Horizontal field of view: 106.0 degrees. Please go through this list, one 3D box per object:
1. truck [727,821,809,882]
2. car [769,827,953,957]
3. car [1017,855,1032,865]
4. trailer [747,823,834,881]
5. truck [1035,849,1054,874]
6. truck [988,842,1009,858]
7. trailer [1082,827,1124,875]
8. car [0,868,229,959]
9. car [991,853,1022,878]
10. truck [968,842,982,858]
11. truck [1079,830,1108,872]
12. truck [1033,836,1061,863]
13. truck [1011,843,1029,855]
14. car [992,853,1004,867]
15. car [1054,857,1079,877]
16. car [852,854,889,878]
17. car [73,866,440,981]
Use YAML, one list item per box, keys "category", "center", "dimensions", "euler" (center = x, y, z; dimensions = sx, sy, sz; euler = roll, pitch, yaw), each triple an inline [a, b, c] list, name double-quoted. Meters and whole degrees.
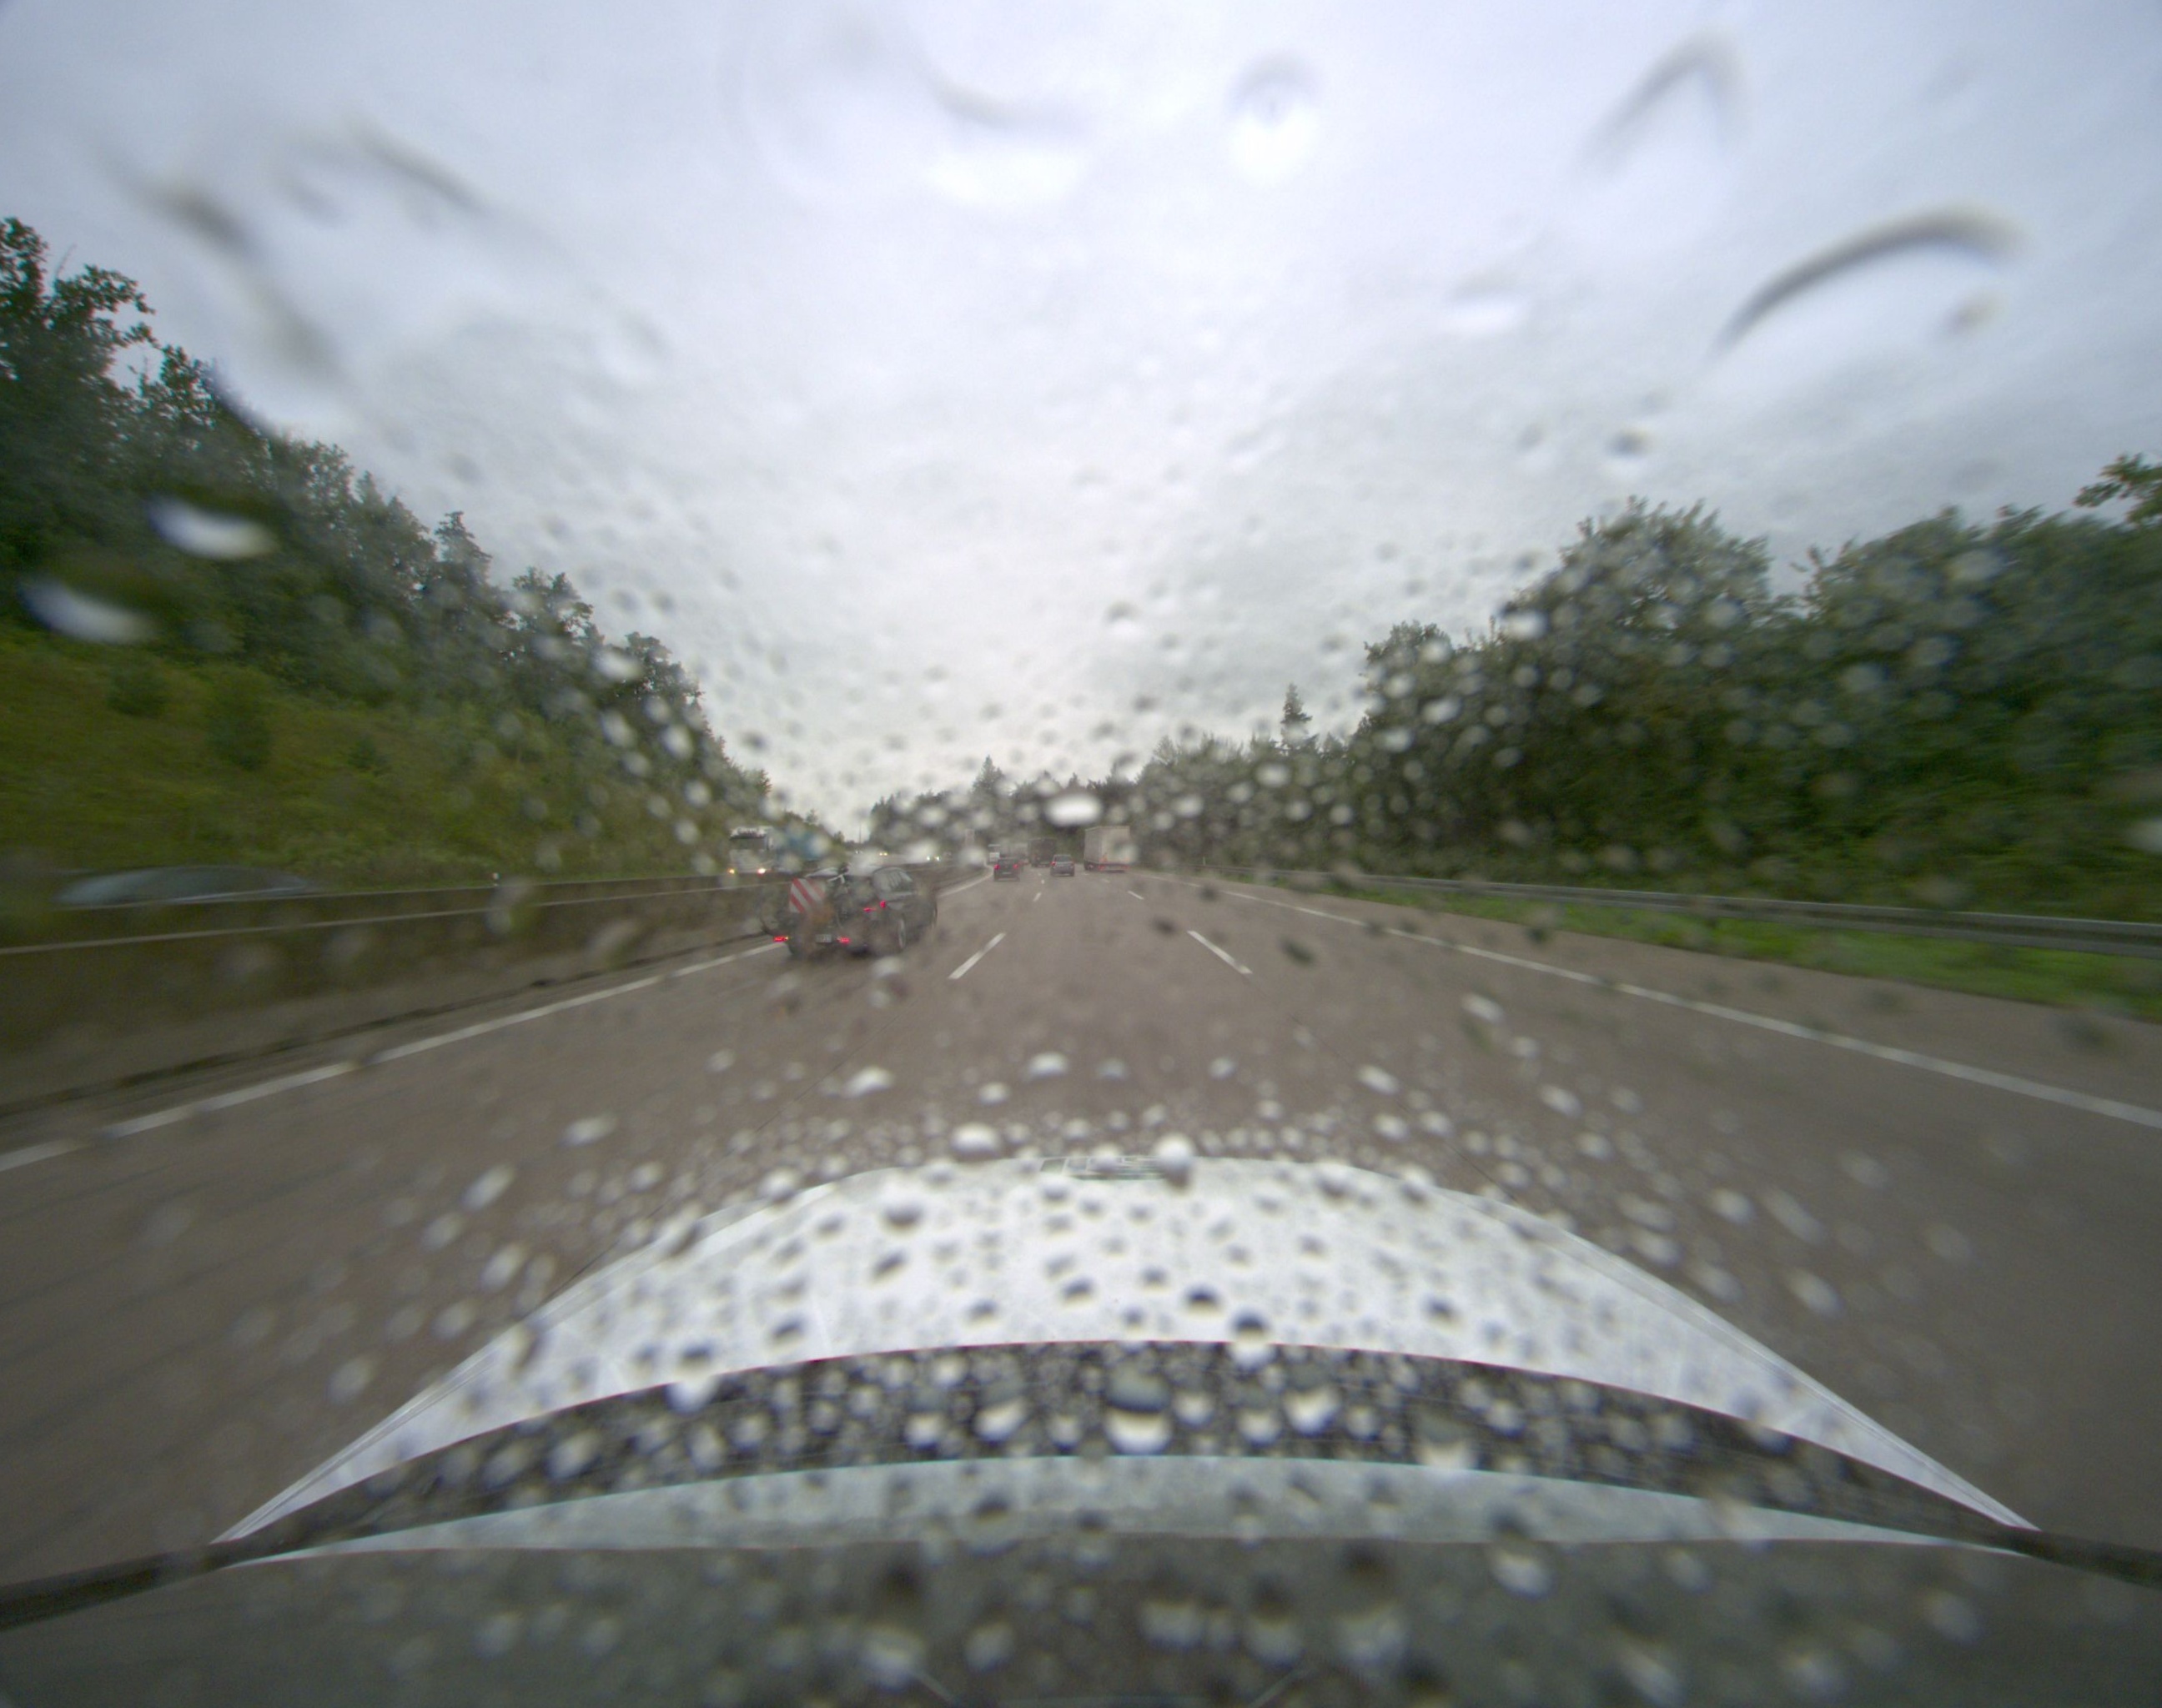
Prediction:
- category: "truck"
  center: [-21.069, -0.142, 55.309]
  dimensions: [2.899, 3.889, 7.358]
  euler: [0, 0, -2]
- category: "car"
  center: [-3.830, 0.577, 15.449]
  dimensions: [1.902, 1.945, 6.159]
  euler: [-1, 0, -1]
- category: "car"
  center: [-8.317, 0.883, 119.134]
  dimensions: [1.876, 1.473, 3.999]
  euler: [2, 0, 0]
- category: "trailer"
  center: [-21.253, -0.142, 60.411]
  dimensions: [2.899, 3.889, 11.027]
  euler: [0, 0, -2]
- category: "truck"
  center: [-4.632, 0.900, 103.572]
  dimensions: [2.263, 2.886, 7.898]
  euler: [0, 1, -2]
- category: "truck"
  center: [-16.097, -0.768, 158.624]
  dimensions: [3.087, 2.905, 7.865]
  euler: [0, 1, -14]
- category: "trailer"
  center: [1.864, -0.304, 74.585]
  dimensions: [2.416, 4.068, 12.033]
  euler: [0, 0, -5]
- category: "car"
  center: [-19.315, 1.060, 15.591]
  dimensions: [1.724, 1.493, 4.002]
  euler: [-1, 0, 2]
- category: "car"
  center: [-4.718, 0.702, 51.919]
  dimensions: [1.679, 1.462, 3.680]
  euler: [2, 0, -2]
- category: "truck"
  center: [-28.396, -1.009, 218.789]
  dimensions: [3.736, 4.210, 6.801]
  euler: [-1, 0, -7]
- category: "truck"
  center: [1.250, -0.346, 81.871]
  dimensions: [2.416, 4.068, 4.969]
  euler: [0, 0, -5]
- category: "truck"
  center: [-5.574, -0.781, 130.675]
  dimensions: [3.368, 4.131, 10.407]
  euler: [0, 0, -8]
- category: "truck"
  center: [-12.177, -1.069, 162.561]
  dimensions: [2.974, 2.309, 6.645]
  euler: [2, 0, -10]
- category: "car"
  center: [-12.584, 0.943, 123.611]
  dimensions: [1.722, 2.014, 3.651]
  euler: [-1, 0, -4]
- category: "car"
  center: [-1.050, 0.944, 60.970]
  dimensions: [1.547, 1.351, 3.686]
  euler: [2, 0, 3]
- category: "car"
  center: [-16.317, 0.890, 63.327]
  dimensions: [1.726, 1.776, 4.754]
  euler: [-1, 0, -2]
- category: "car"
  center: [-12.804, 0.976, 13.085]
  dimensions: [1.724, 1.493, 4.002]
  euler: [-1, 0, 2]
